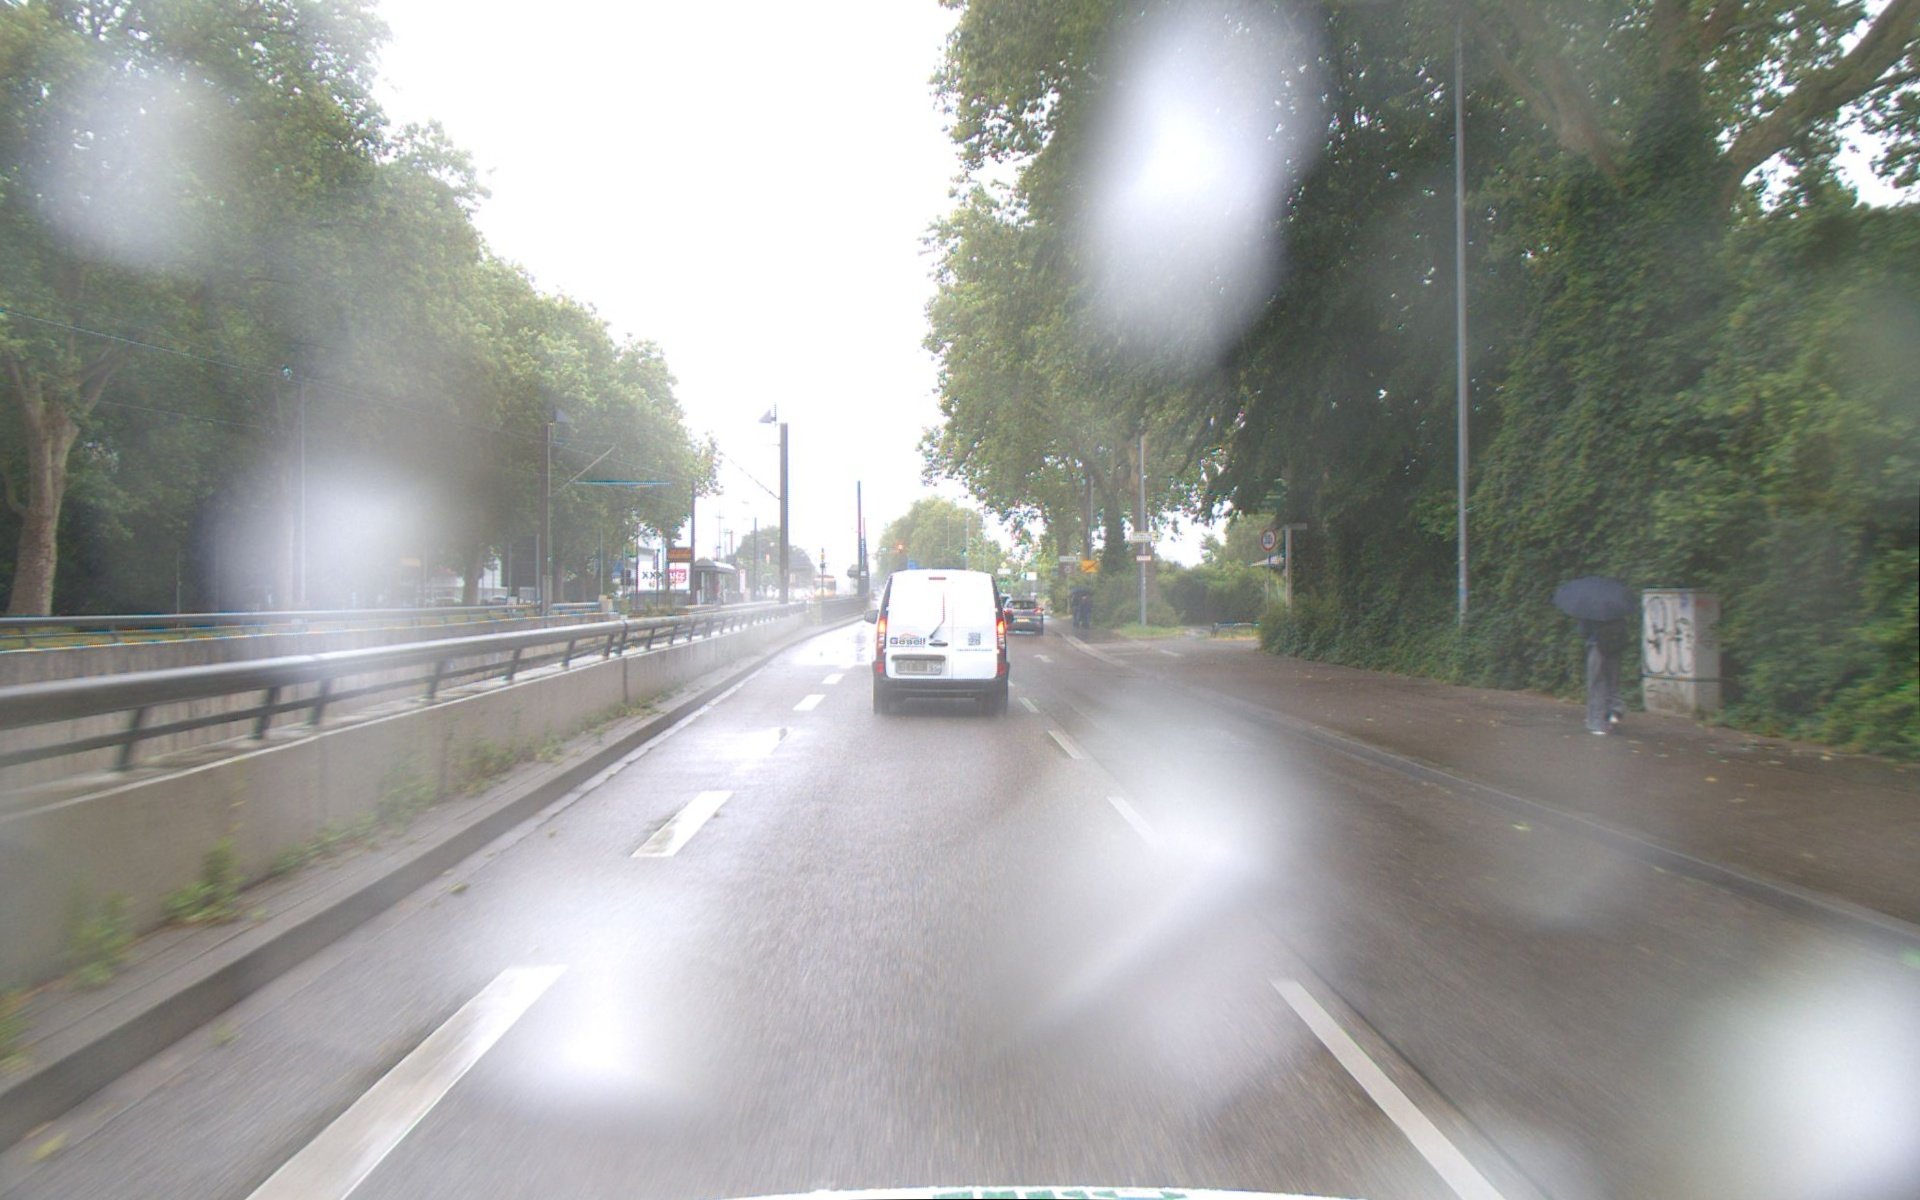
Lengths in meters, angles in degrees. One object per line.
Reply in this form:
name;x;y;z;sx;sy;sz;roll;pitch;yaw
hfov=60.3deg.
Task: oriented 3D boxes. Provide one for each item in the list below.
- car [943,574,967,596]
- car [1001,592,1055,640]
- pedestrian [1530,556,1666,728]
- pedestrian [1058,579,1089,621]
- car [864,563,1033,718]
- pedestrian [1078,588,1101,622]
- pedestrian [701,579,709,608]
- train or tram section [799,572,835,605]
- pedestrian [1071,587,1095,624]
car;-0.484;-1.308;145.515;1.953;1.780;3.999;2;0;-2
car;2.664;0.621;65.673;1.953;1.780;4.000;2;0;0
pedestrian;6.657;0.427;17.319;0.947;1.732;1.140;0;0;-2
pedestrian;5.129;0.018;74.975;1.215;1.817;1.147;-3;0;0
car;-0.248;0.488;22.115;1.984;1.806;4.271;2;0;-3
pedestrian;5.554;0.217;70.894;0.874;1.414;1.016;-1;0;0
pedestrian;-18.132;-0.482;117.662;0.484;2.049;0.581;2;0;-12
train or tram section;-19.404;-1.511;226.376;3.695;4.107;27.079;2;0;-3
pedestrian;5.433;0.222;72.990;0.927;1.617;1.294;0;0;0
